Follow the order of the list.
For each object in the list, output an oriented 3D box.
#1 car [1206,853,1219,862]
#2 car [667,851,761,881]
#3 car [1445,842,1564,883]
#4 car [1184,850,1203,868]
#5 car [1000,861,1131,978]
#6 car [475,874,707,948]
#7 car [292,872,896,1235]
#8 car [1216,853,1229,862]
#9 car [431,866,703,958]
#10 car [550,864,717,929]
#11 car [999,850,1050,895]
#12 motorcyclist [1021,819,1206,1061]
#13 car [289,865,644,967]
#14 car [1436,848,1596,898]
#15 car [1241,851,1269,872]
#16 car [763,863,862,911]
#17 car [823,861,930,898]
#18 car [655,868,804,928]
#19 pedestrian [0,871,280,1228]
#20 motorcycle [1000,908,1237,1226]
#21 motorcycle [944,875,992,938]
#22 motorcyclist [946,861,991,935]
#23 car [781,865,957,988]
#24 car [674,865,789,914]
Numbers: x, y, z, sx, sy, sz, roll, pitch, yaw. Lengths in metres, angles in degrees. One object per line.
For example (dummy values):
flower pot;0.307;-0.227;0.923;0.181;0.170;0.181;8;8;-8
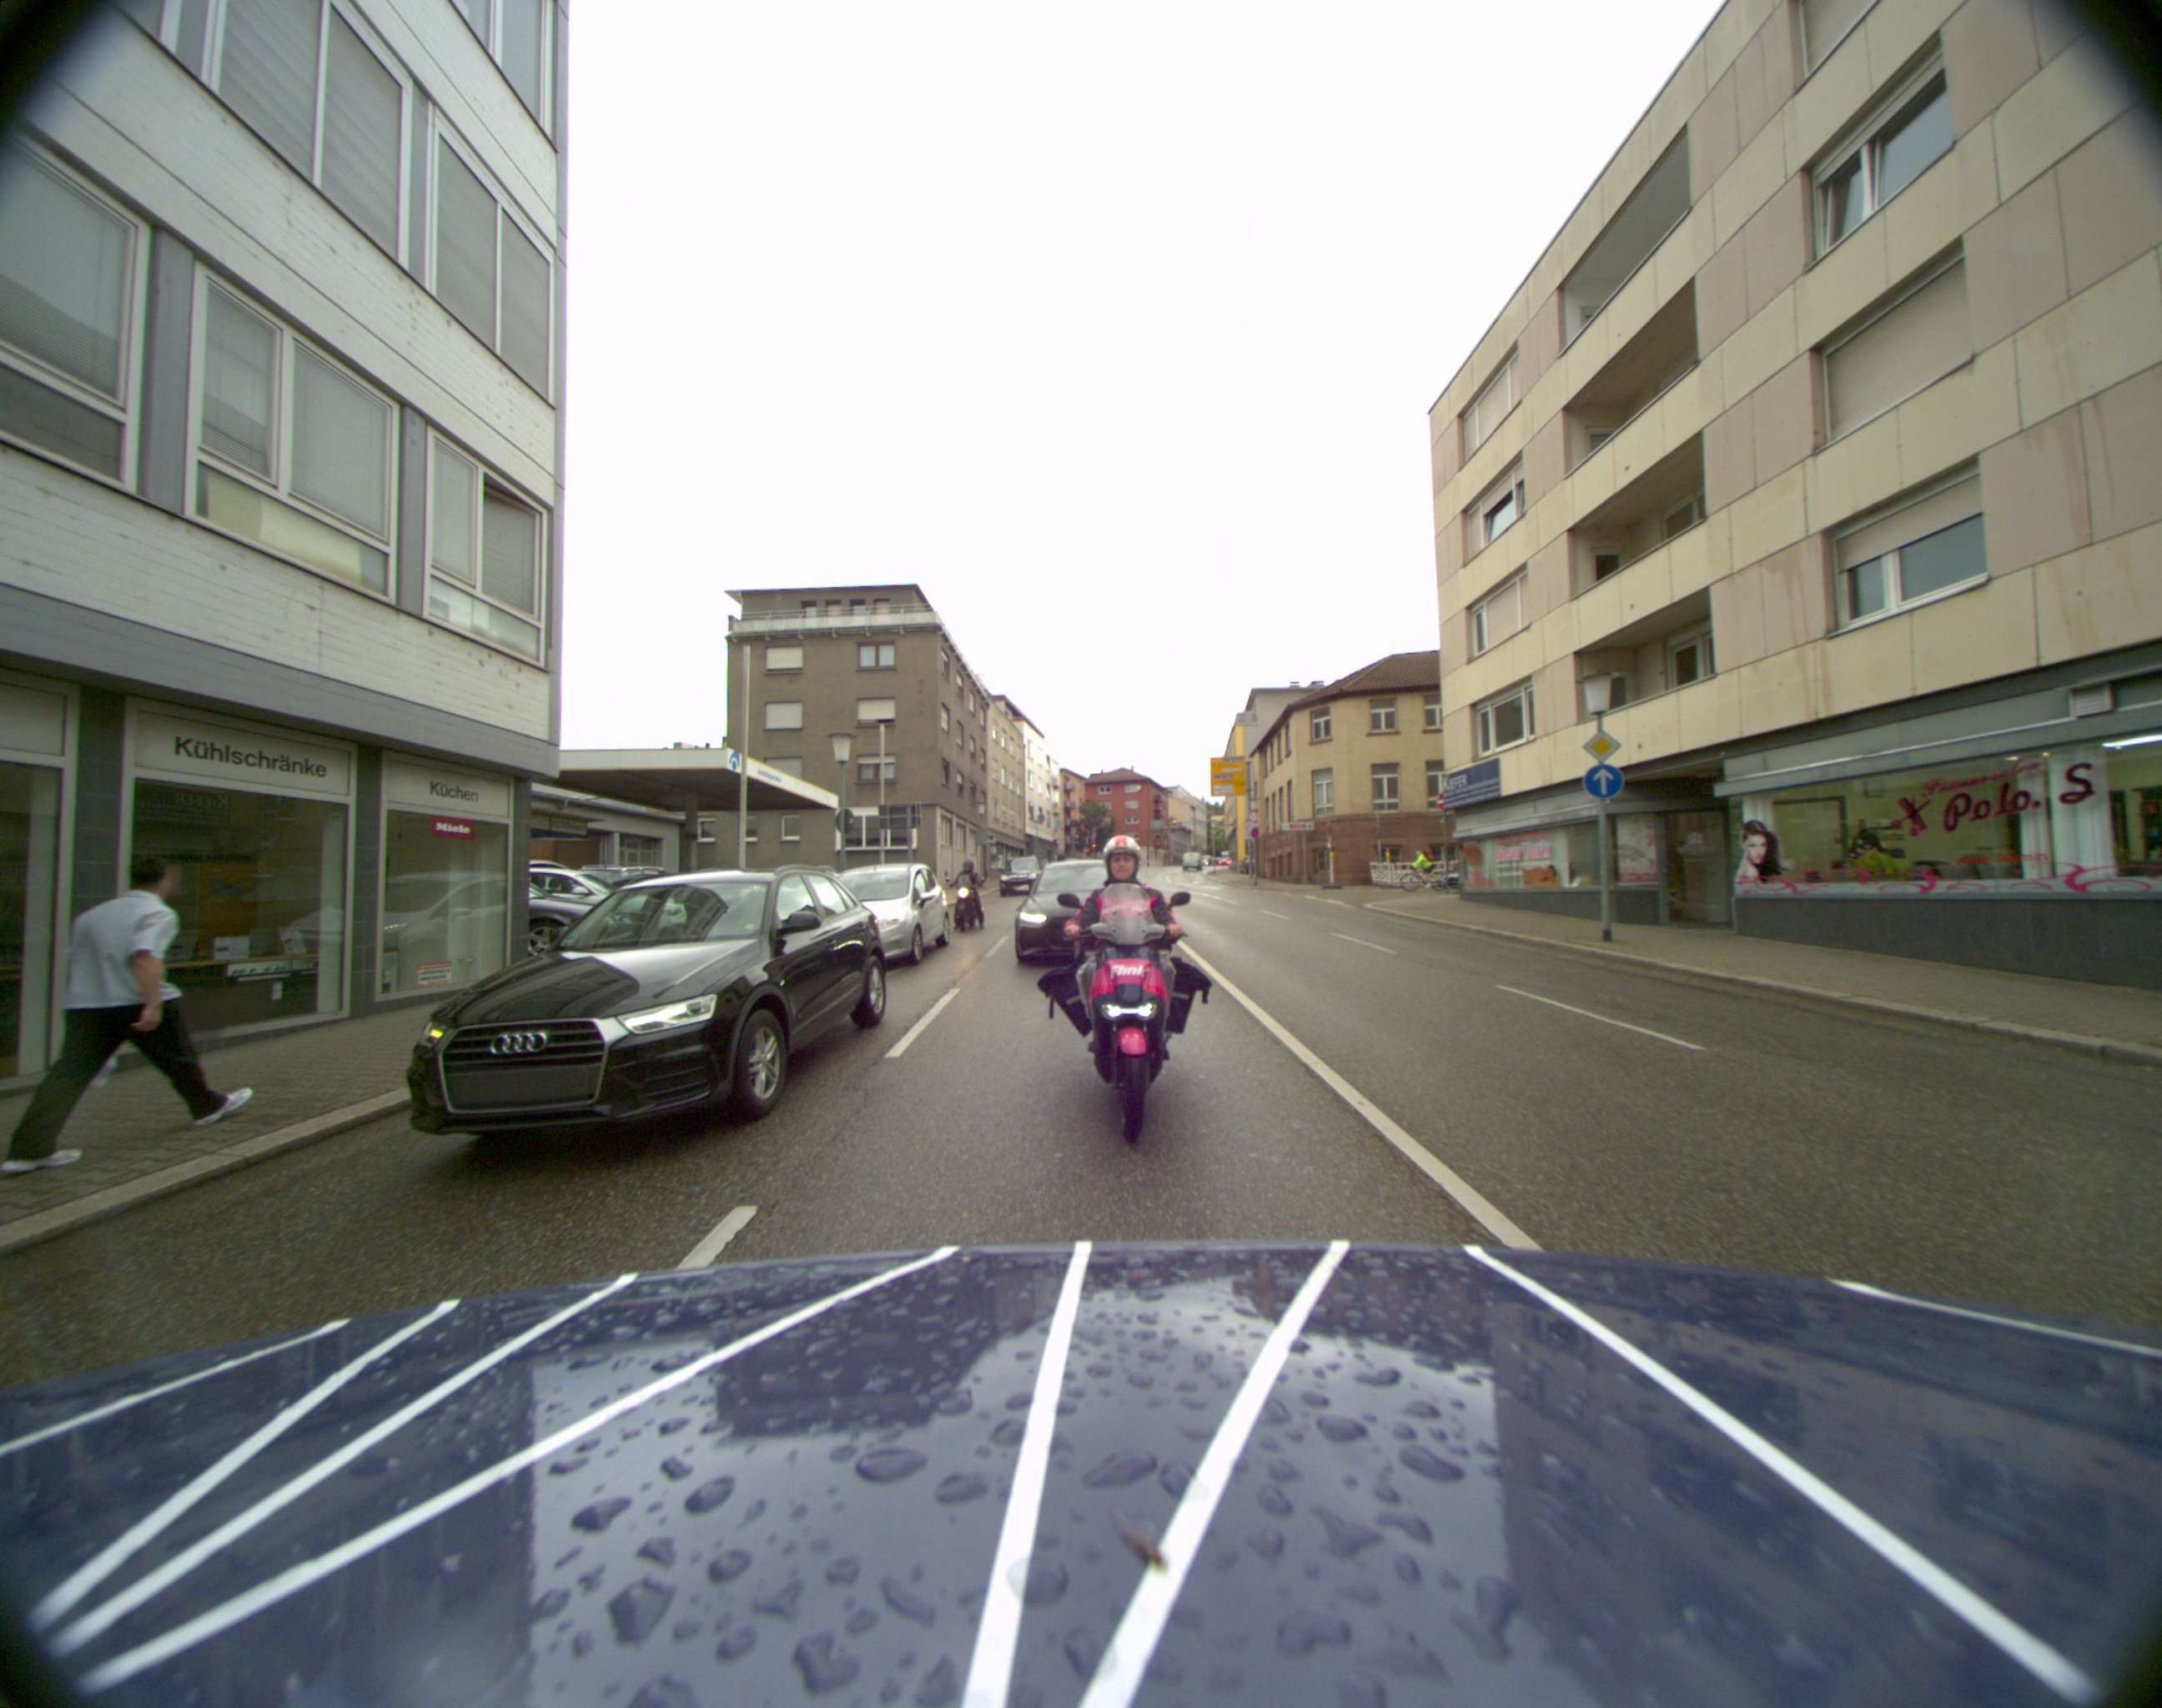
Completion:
car;22.413;0.556;129.127;1.860;1.445;4.323;0;0;13
car;-17.952;0.592;37.277;3.751;1.445;1.795;0;-2;3
car;16.904;0.375;30.527;3.806;1.457;1.756;-2;-3;14
car;11.860;0.503;79.901;1.864;1.793;4.269;0;0;11
car;-0.102;0.918;12.513;1.705;1.451;4.319;-3;0;3
car;-10.755;1.214;16.991;4.002;1.393;1.669;-1;0;-13
car;-2.871;1.018;5.797;1.828;1.551;4.201;-4;0;0
car;22.801;0.593;122.475;1.860;1.445;4.323;0;0;14
car;-9.756;1.052;14.792;4.002;1.521;1.761;-1;0;-15
car;-12.141;1.105;21.009;1.793;1.535;4.493;3;-1;2
car;-2.519;0.792;34.652;1.848;1.893;3.765;-1;0;2
motorcyclist;0.211;0.512;4.900;1.010;1.373;0.835;-4;0;3
car;-9.556;0.977;12.223;4.003;1.442;1.796;2;-1;-16
car;14.679;0.628;25.864;4.358;1.495;1.755;-2;0;11
car;13.558;0.569;59.327;1.861;1.445;3.966;-4;-1;10
car;-9.398;1.101;26.979;1.793;1.503;4.437;-1;0;2
car;-9.890;1.206;36.896;4.531;1.495;2.001;-3;0;5
car;-9.561;1.130;21.147;1.792;1.407;4.616;0;0;3
pedestrian;-5.475;0.972;4.256;0.786;1.696;1.120;2;1;-2
motorcycle;0.236;1.080;4.840;1.010;1.218;2.694;-4;0;3
motorcycle;-2.545;1.149;17.363;0.847;1.219;2.372;-4;0;-4
motorcyclist;-2.548;0.969;17.347;0.847;1.580;0.962;-4;1;-4
car;-3.324;1.043;12.804;1.831;1.532;4.251;-4;0;-3
car;-12.048;1.181;26.556;1.793;1.502;4.420;3;-1;2
